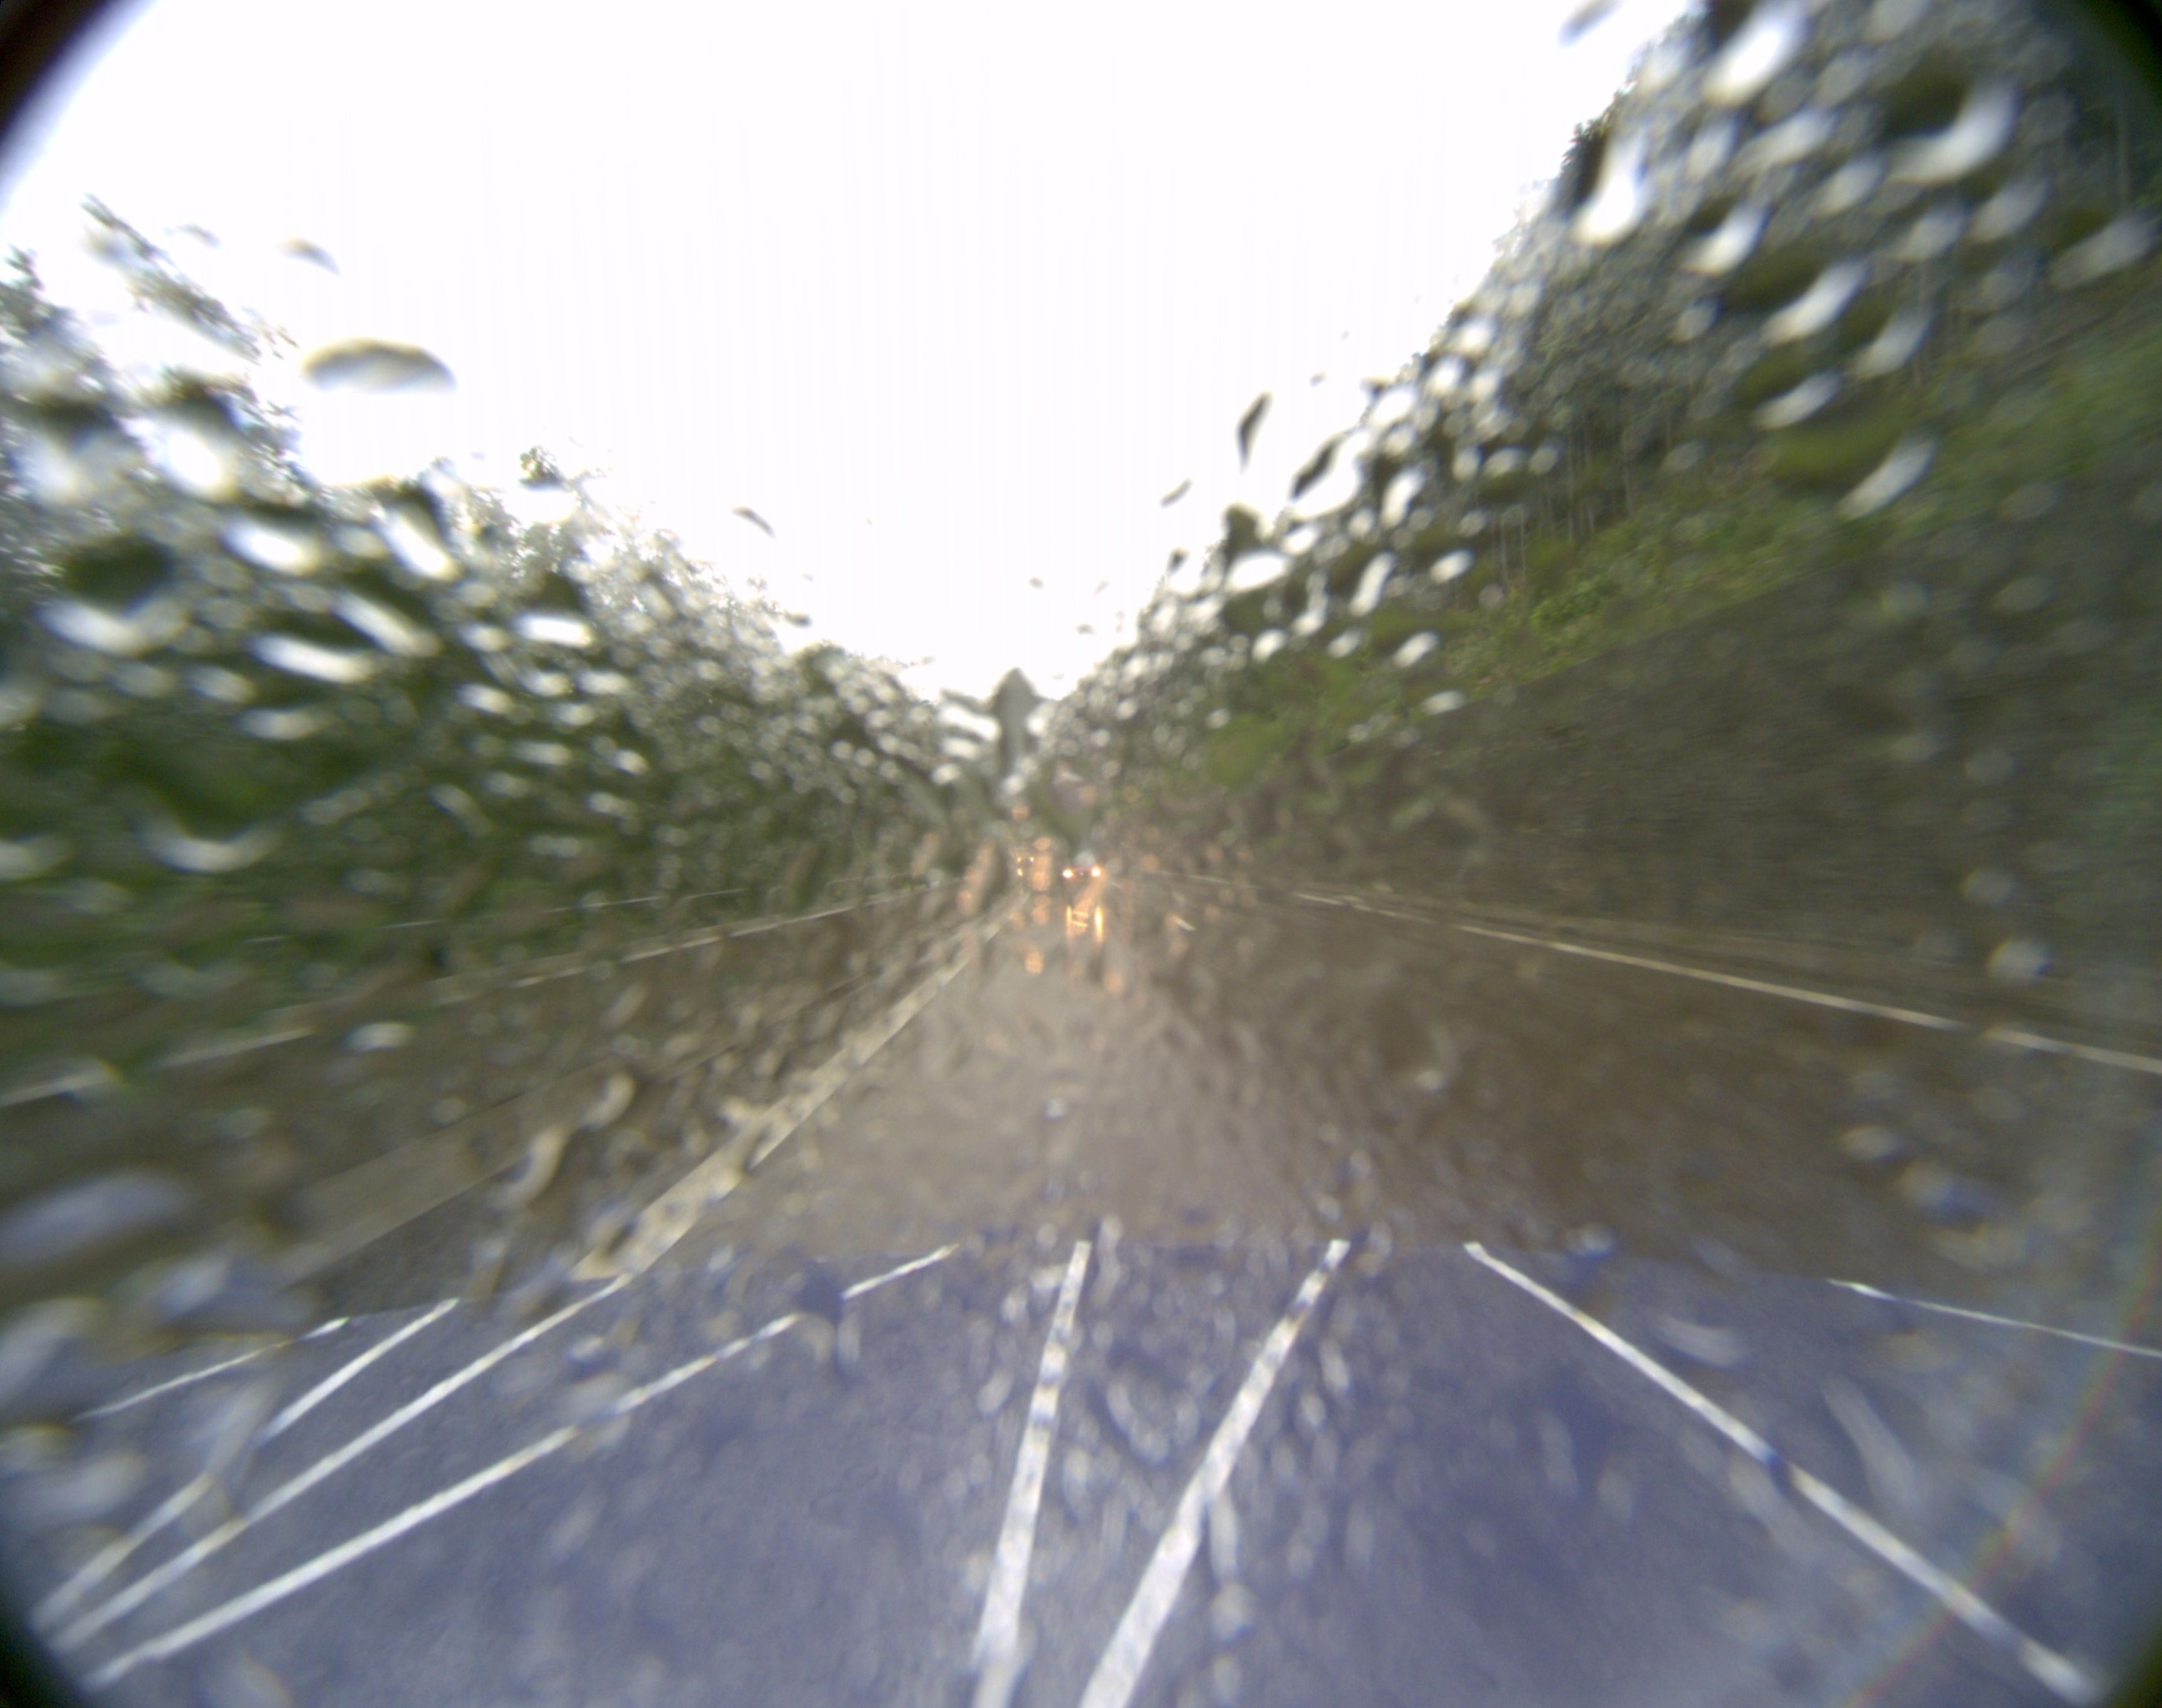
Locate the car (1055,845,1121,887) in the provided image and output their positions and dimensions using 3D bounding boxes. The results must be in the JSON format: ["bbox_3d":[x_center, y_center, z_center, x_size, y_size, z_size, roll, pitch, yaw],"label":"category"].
[{"bbox_3d":[0.200,0.457,33.138,2.360,1.549,5.496,-3,1,-4],"label":"car"}]

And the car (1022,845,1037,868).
[{"bbox_3d":[-6.863,0.333,101.456,1.743,3.008,3.997,0,1,-6],"label":"car"}]
